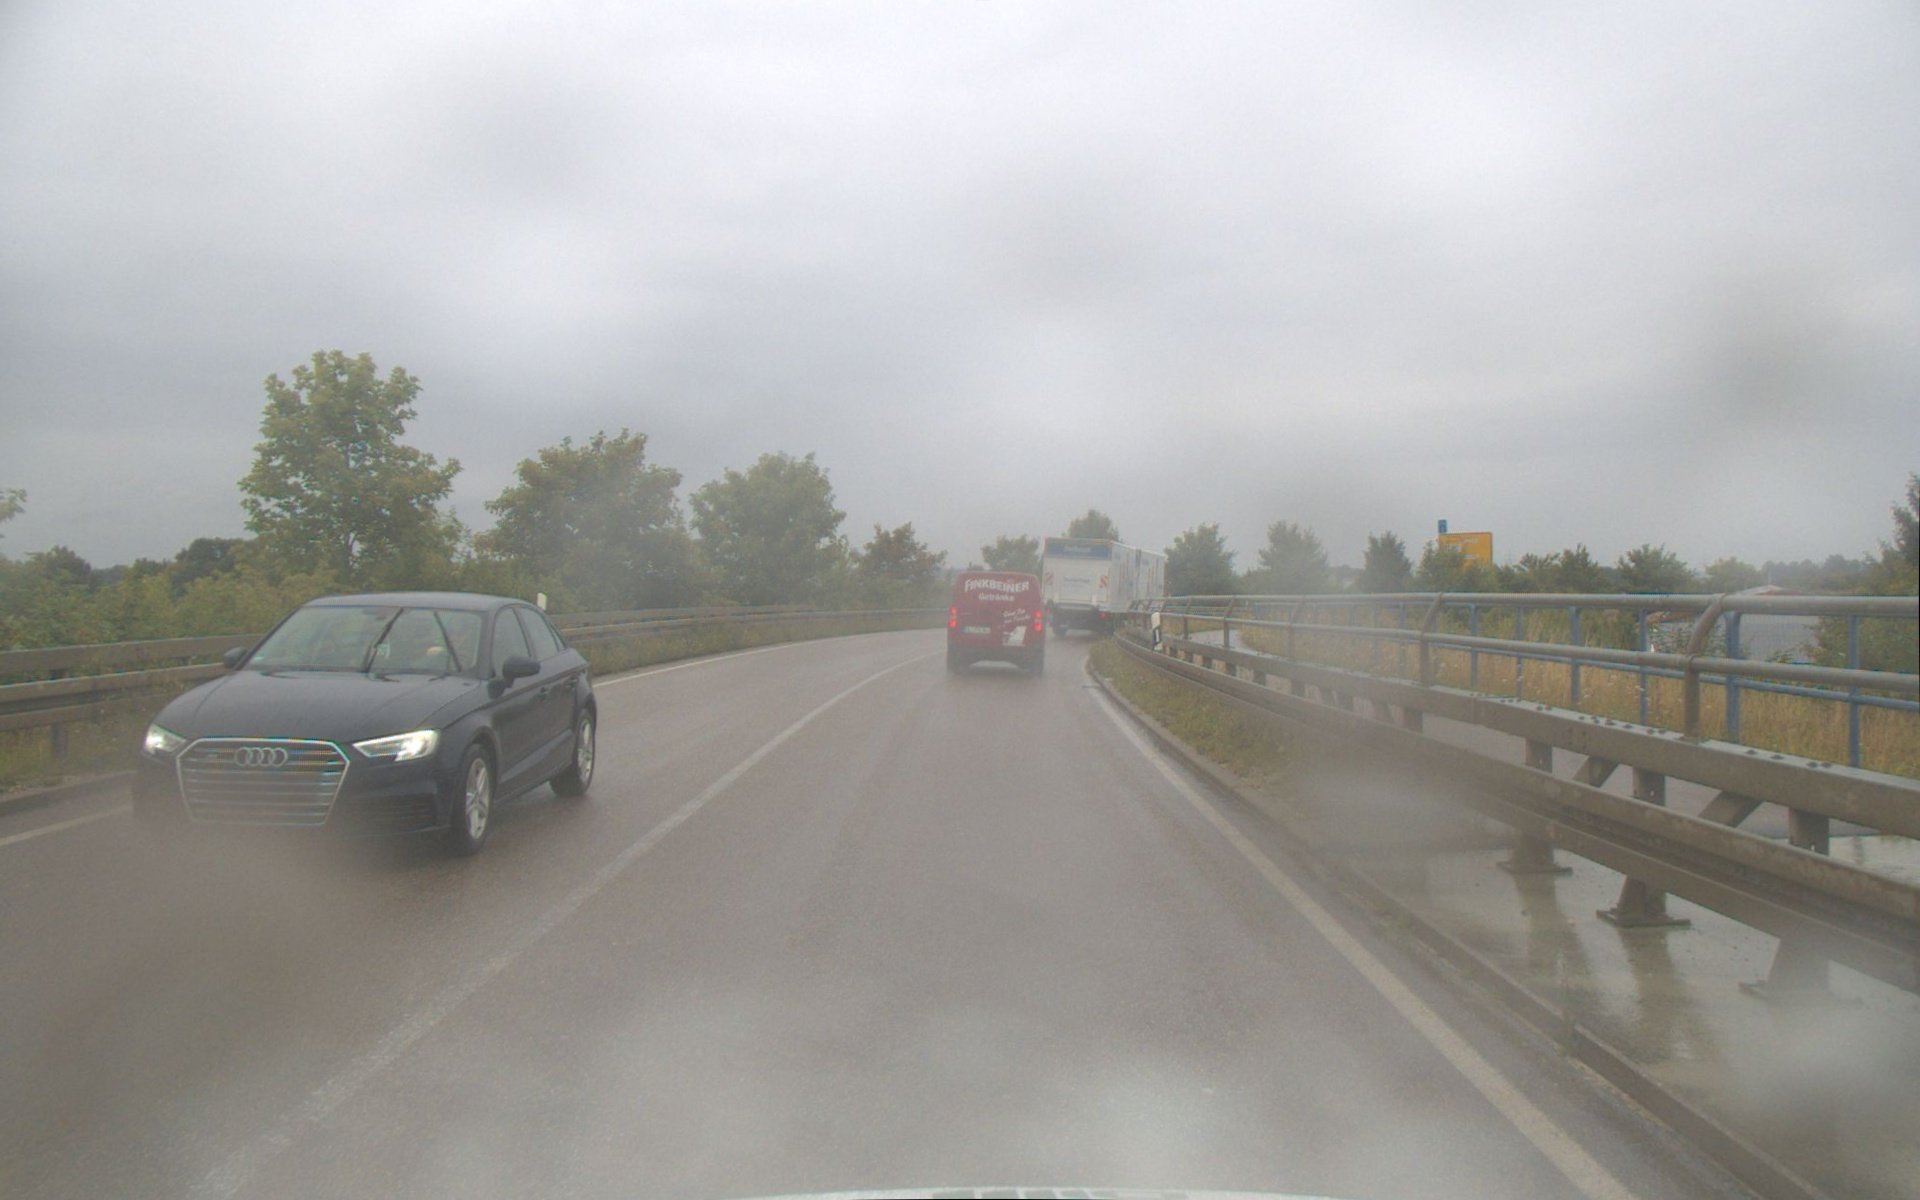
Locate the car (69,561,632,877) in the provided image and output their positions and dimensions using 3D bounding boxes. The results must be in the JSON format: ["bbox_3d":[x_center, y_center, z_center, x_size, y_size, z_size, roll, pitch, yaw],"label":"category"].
[{"bbox_3d":[-3.441,0.574,10.262,1.800,1.564,4.071,0,0,3],"label":"car"}]

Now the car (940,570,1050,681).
[{"bbox_3d":[0.733,0.448,32.187,1.952,1.959,4.145,1,1,3],"label":"car"}]

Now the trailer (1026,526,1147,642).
[{"bbox_3d":[4.961,-0.555,63.159,3.133,3.990,8.746,3,0,13],"label":"trailer"}]

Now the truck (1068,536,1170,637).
[{"bbox_3d":[7.010,-0.535,71.682,3.133,3.990,8.746,3,0,13],"label":"truck"}]
